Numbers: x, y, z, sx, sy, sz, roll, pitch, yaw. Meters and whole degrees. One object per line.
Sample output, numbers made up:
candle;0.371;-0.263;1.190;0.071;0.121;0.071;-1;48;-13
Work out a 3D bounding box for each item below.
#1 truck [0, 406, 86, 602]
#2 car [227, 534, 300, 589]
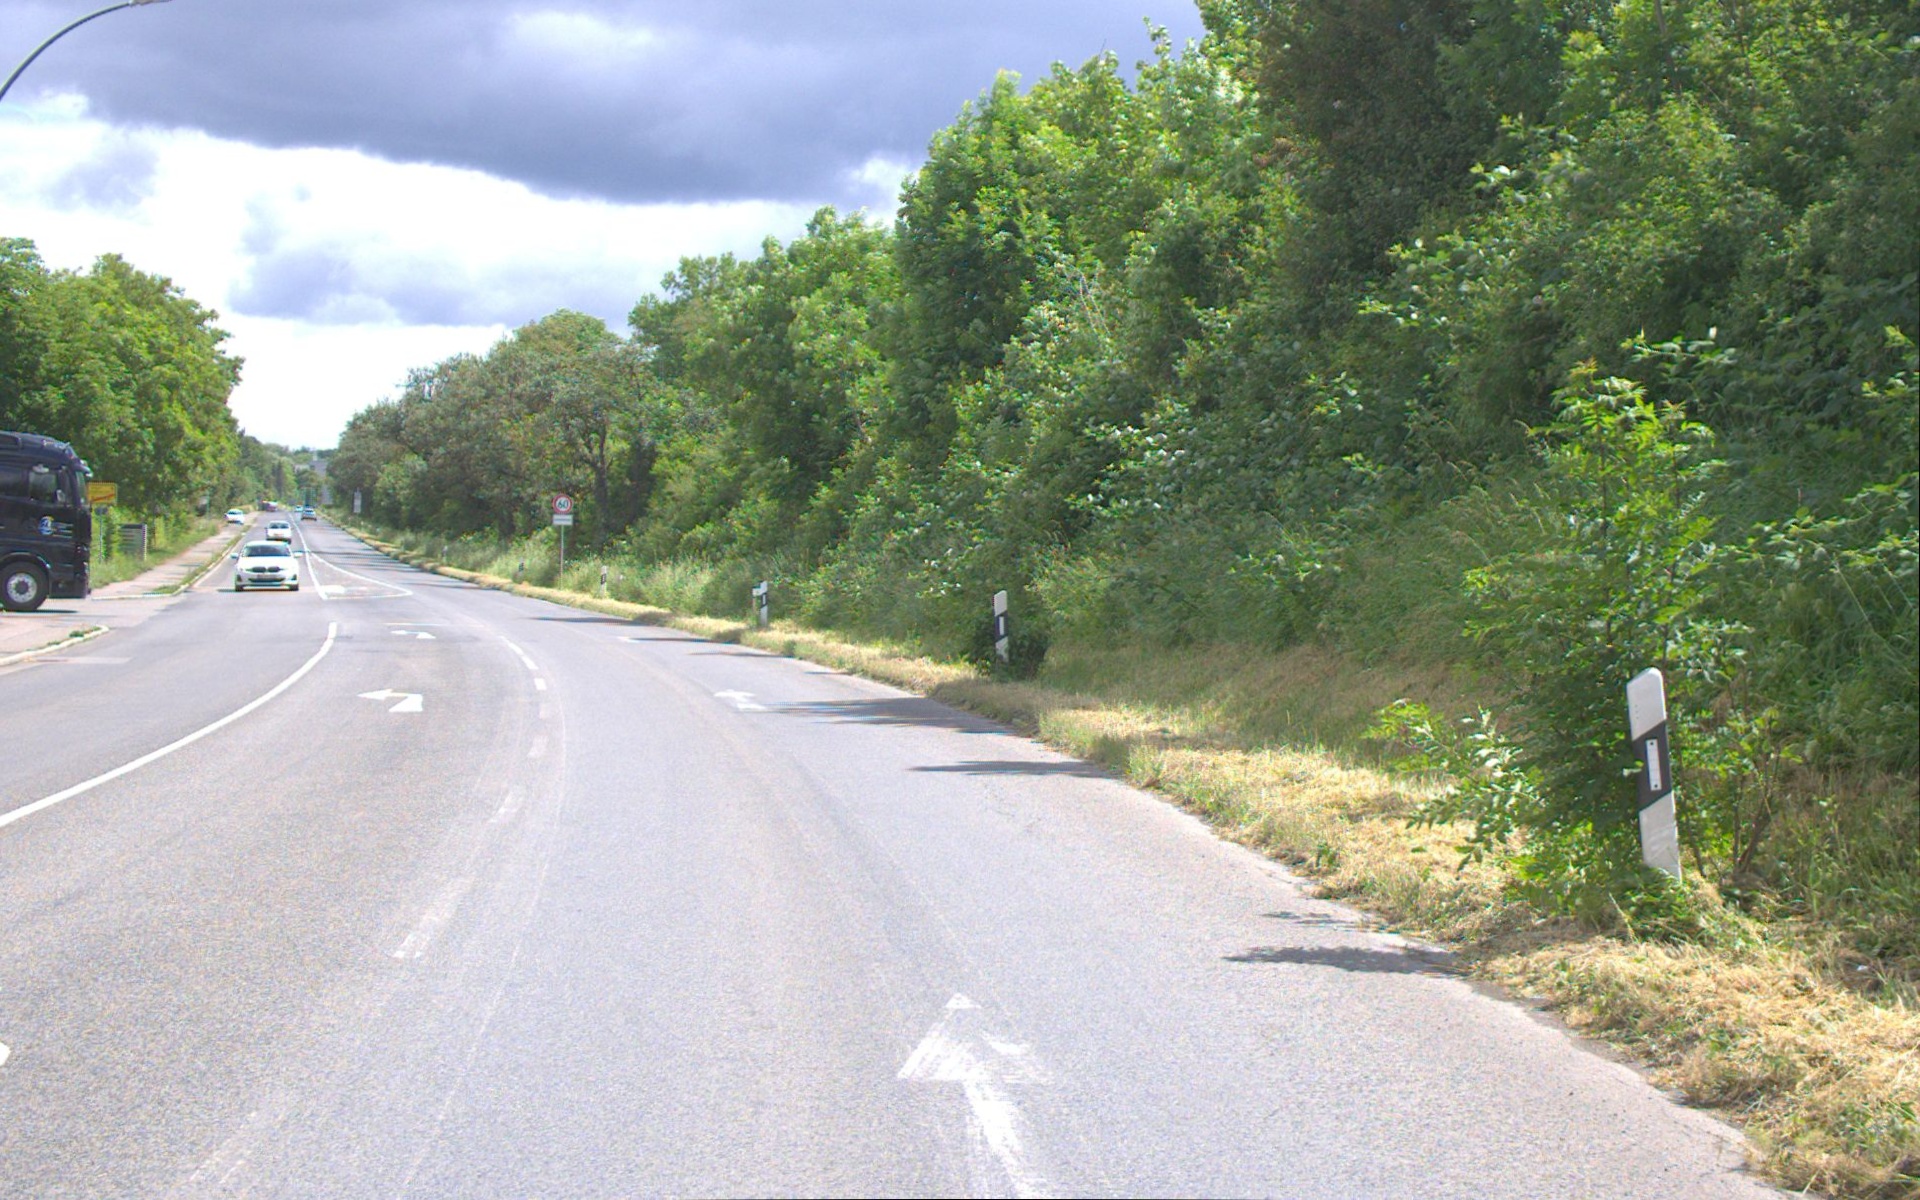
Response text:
truck;-21.787;-2.001;72.569;6.117;4.079;2.826;-1;1;-22
car;-20.411;-1.145;100.863;1.993;1.532;4.001;1;1;-10
